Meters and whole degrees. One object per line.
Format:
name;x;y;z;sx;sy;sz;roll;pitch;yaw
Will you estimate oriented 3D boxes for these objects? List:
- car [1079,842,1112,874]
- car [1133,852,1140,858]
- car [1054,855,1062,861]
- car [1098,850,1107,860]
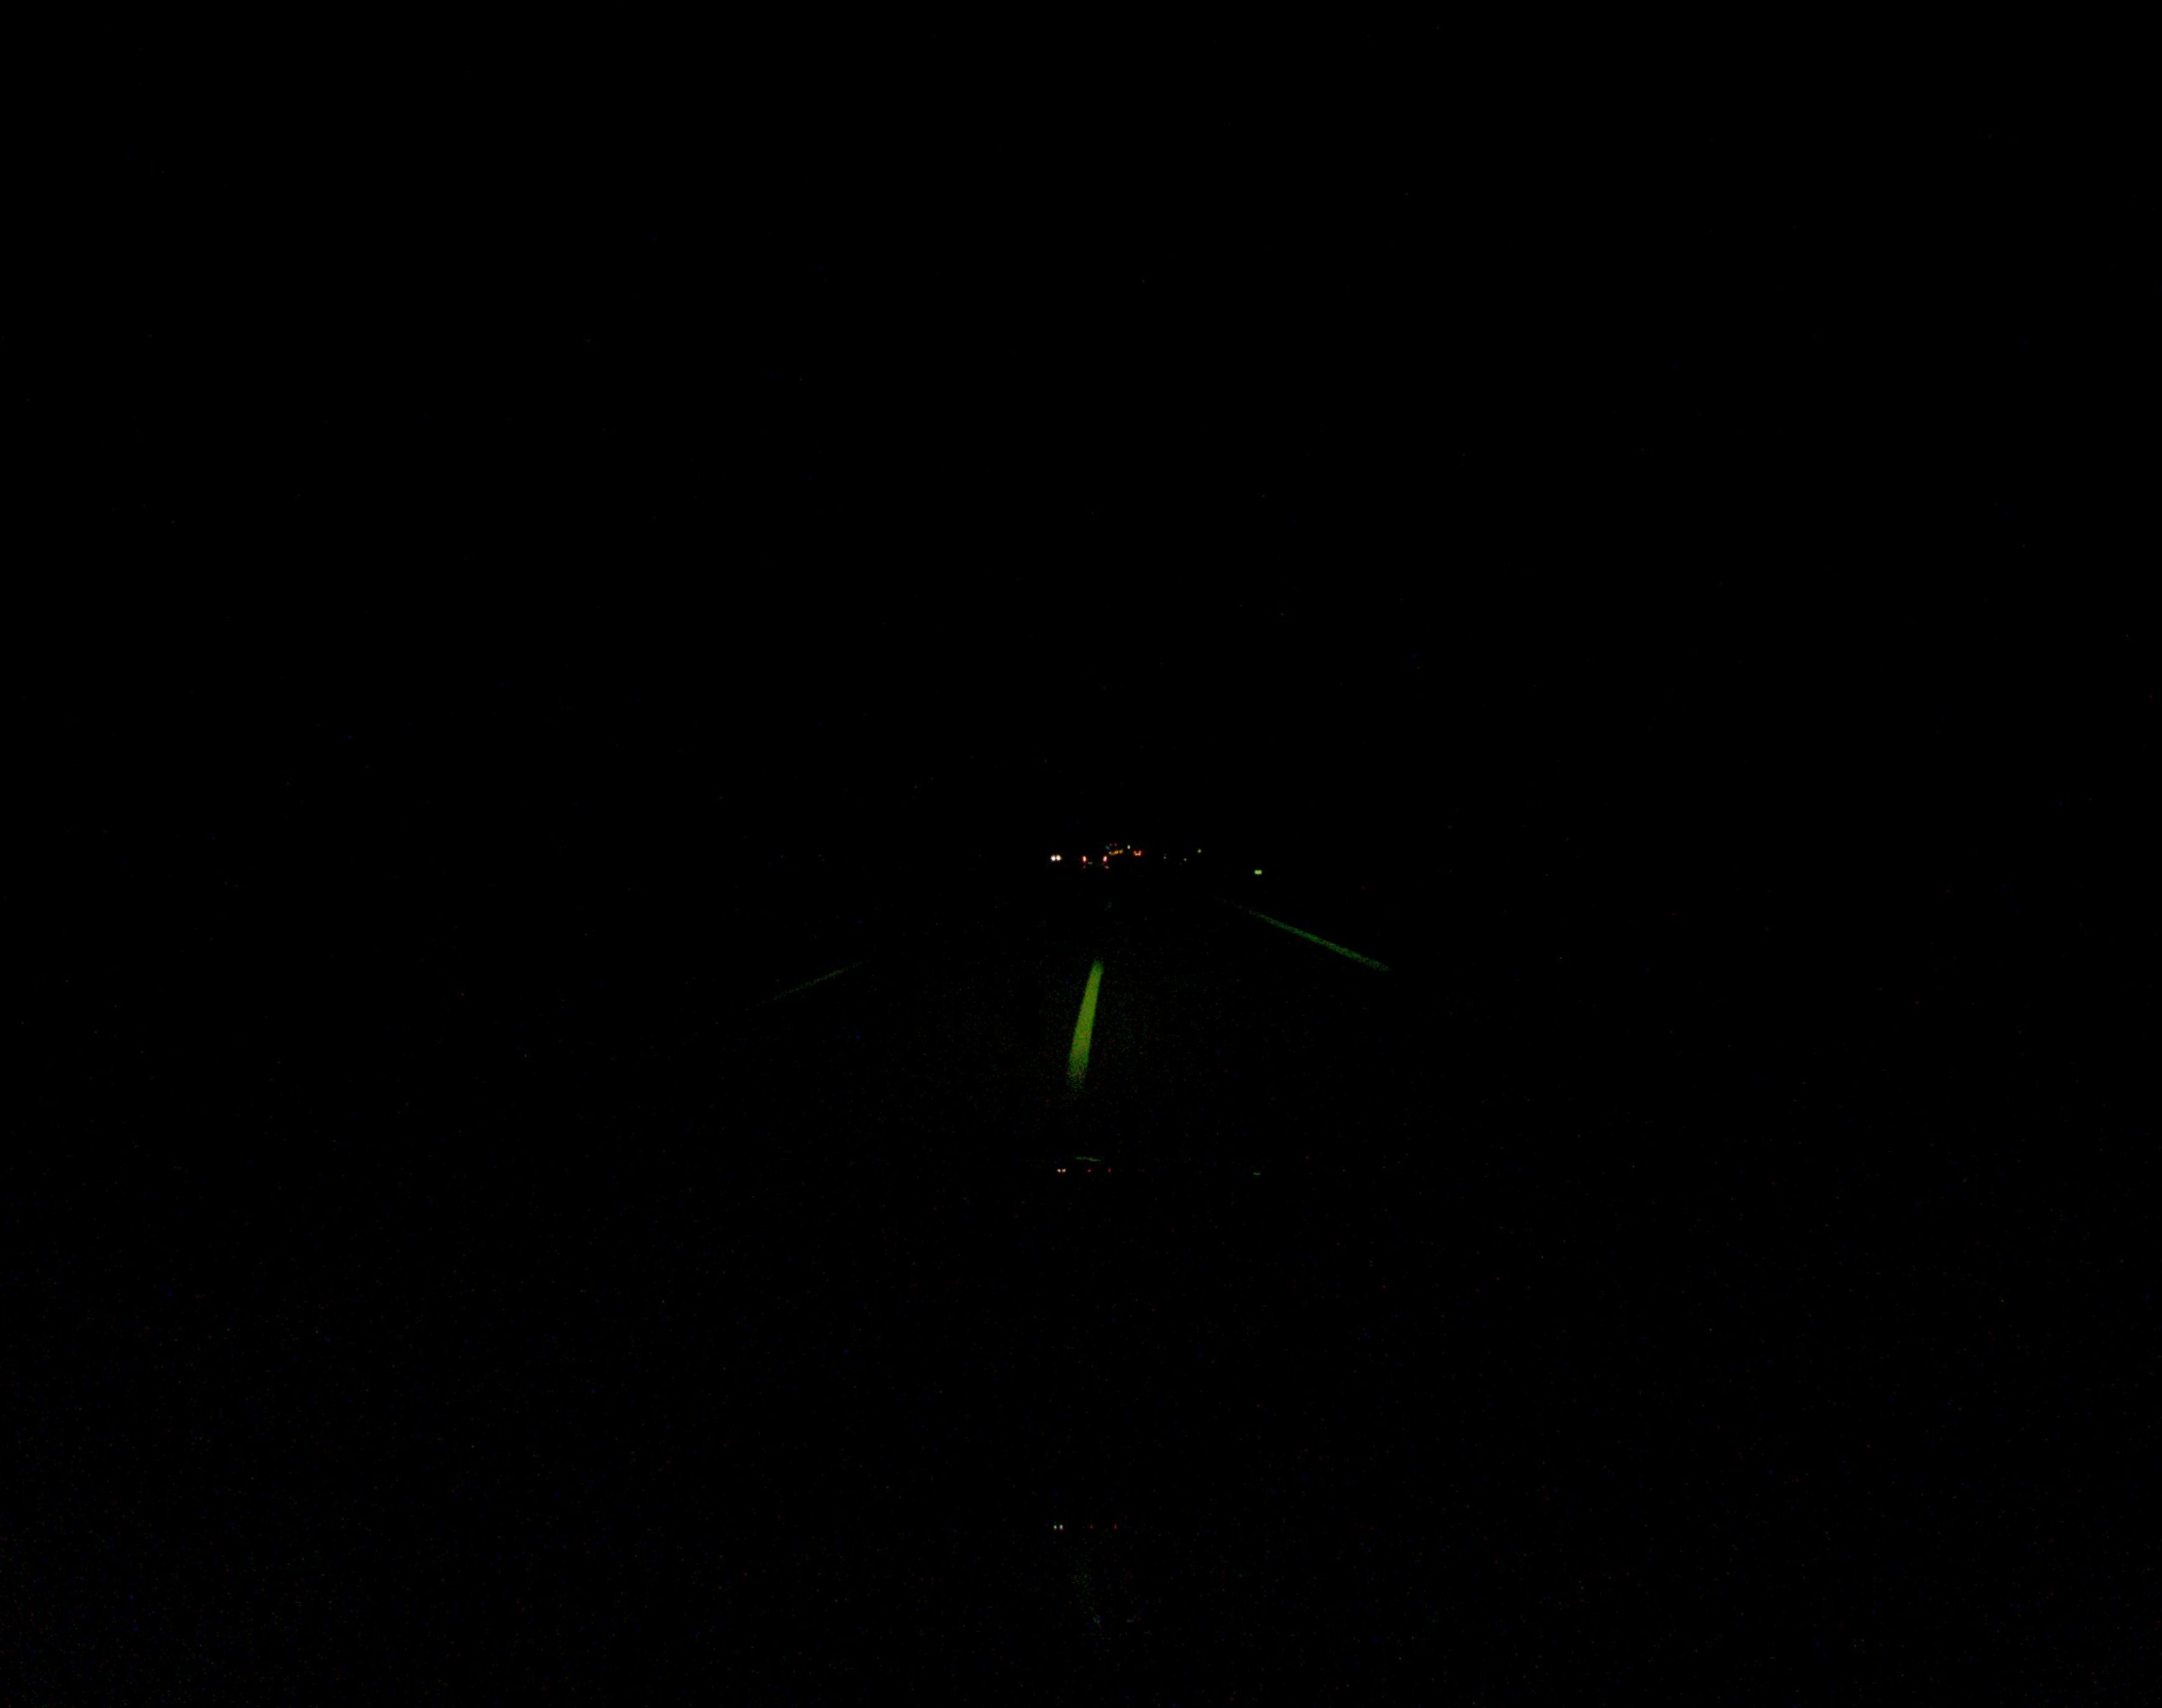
car;1.341;0.327;73.598;2.775;2.733;6.303;-1;0;2
car;15.285;0.286;225.178;1.836;1.640;4.002;-2;1;2
car;-6.297;1.005;221.511;1.925;1.604;4.956;-2;0;2
car;6.801;0.300;256.045;2.776;2.734;6.299;-1;-2;1
